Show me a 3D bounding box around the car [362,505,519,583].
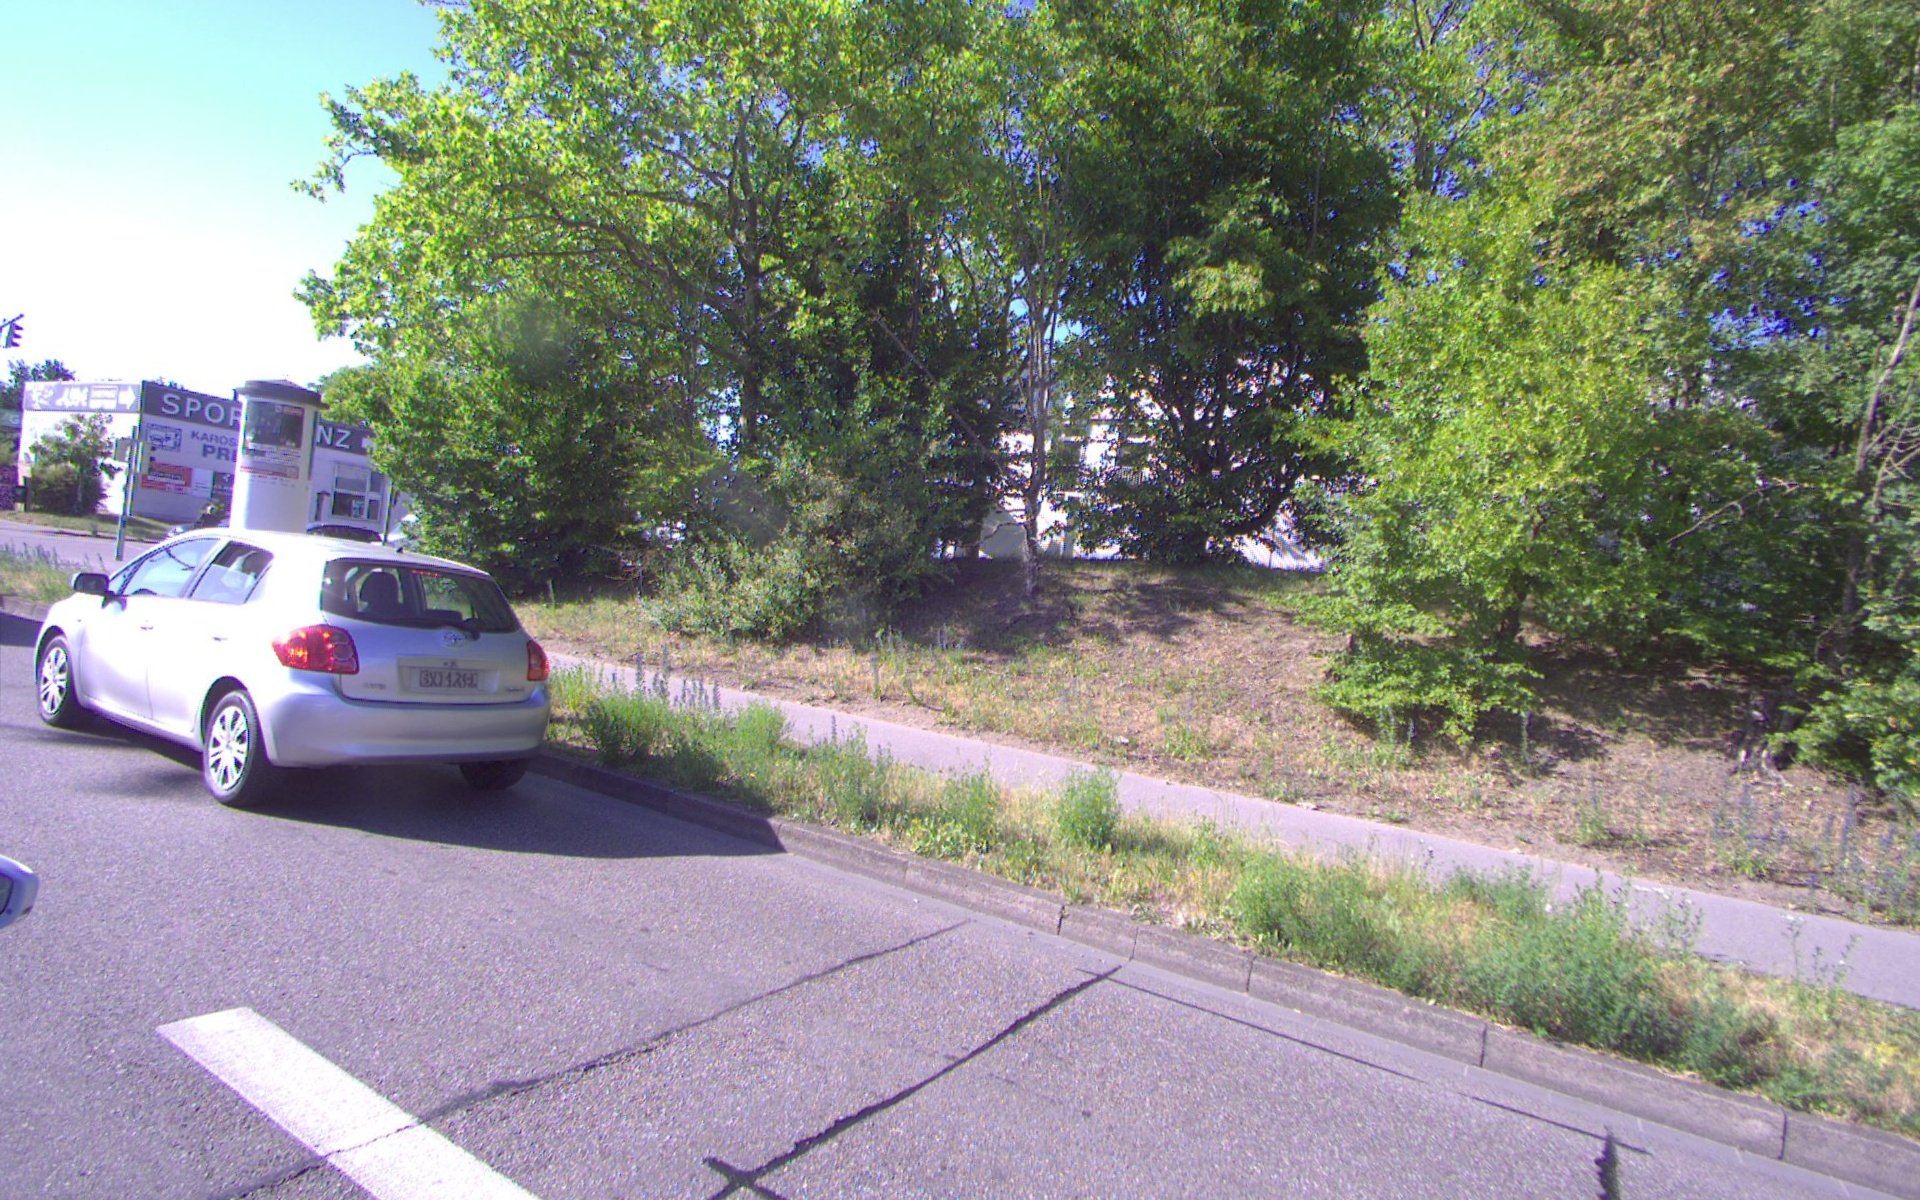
[{"bbox_3d":[-23.006,-2.410,44.843,1.967,2.706,5.840,6,0,32],"label":"car"}]

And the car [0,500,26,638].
[{"bbox_3d":[-12.439,-0.613,11.248,4.299,1.458,1.737,7,-2,32],"label":"car"}]

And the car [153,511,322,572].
[{"bbox_3d":[-27.200,-2.179,38.074,1.729,1.484,4.831,6,-2,30],"label":"car"}]

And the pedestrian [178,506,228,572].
[{"bbox_3d":[-21.086,-1.698,28.013,0.506,1.688,0.818,6,-1,31],"label":"pedestrian"}]

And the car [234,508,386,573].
[{"bbox_3d":[-23.905,-2.147,37.164,1.611,1.668,4.316,6,-2,31],"label":"car"}]

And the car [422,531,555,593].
[{"bbox_3d":[-20.486,-1.596,43.940,1.849,2.060,4.962,7,-1,30],"label":"car"}]

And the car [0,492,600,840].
[{"bbox_3d":[-4.607,0.303,6.839,4.039,1.555,1.787,7,-2,32],"label":"car"}]
